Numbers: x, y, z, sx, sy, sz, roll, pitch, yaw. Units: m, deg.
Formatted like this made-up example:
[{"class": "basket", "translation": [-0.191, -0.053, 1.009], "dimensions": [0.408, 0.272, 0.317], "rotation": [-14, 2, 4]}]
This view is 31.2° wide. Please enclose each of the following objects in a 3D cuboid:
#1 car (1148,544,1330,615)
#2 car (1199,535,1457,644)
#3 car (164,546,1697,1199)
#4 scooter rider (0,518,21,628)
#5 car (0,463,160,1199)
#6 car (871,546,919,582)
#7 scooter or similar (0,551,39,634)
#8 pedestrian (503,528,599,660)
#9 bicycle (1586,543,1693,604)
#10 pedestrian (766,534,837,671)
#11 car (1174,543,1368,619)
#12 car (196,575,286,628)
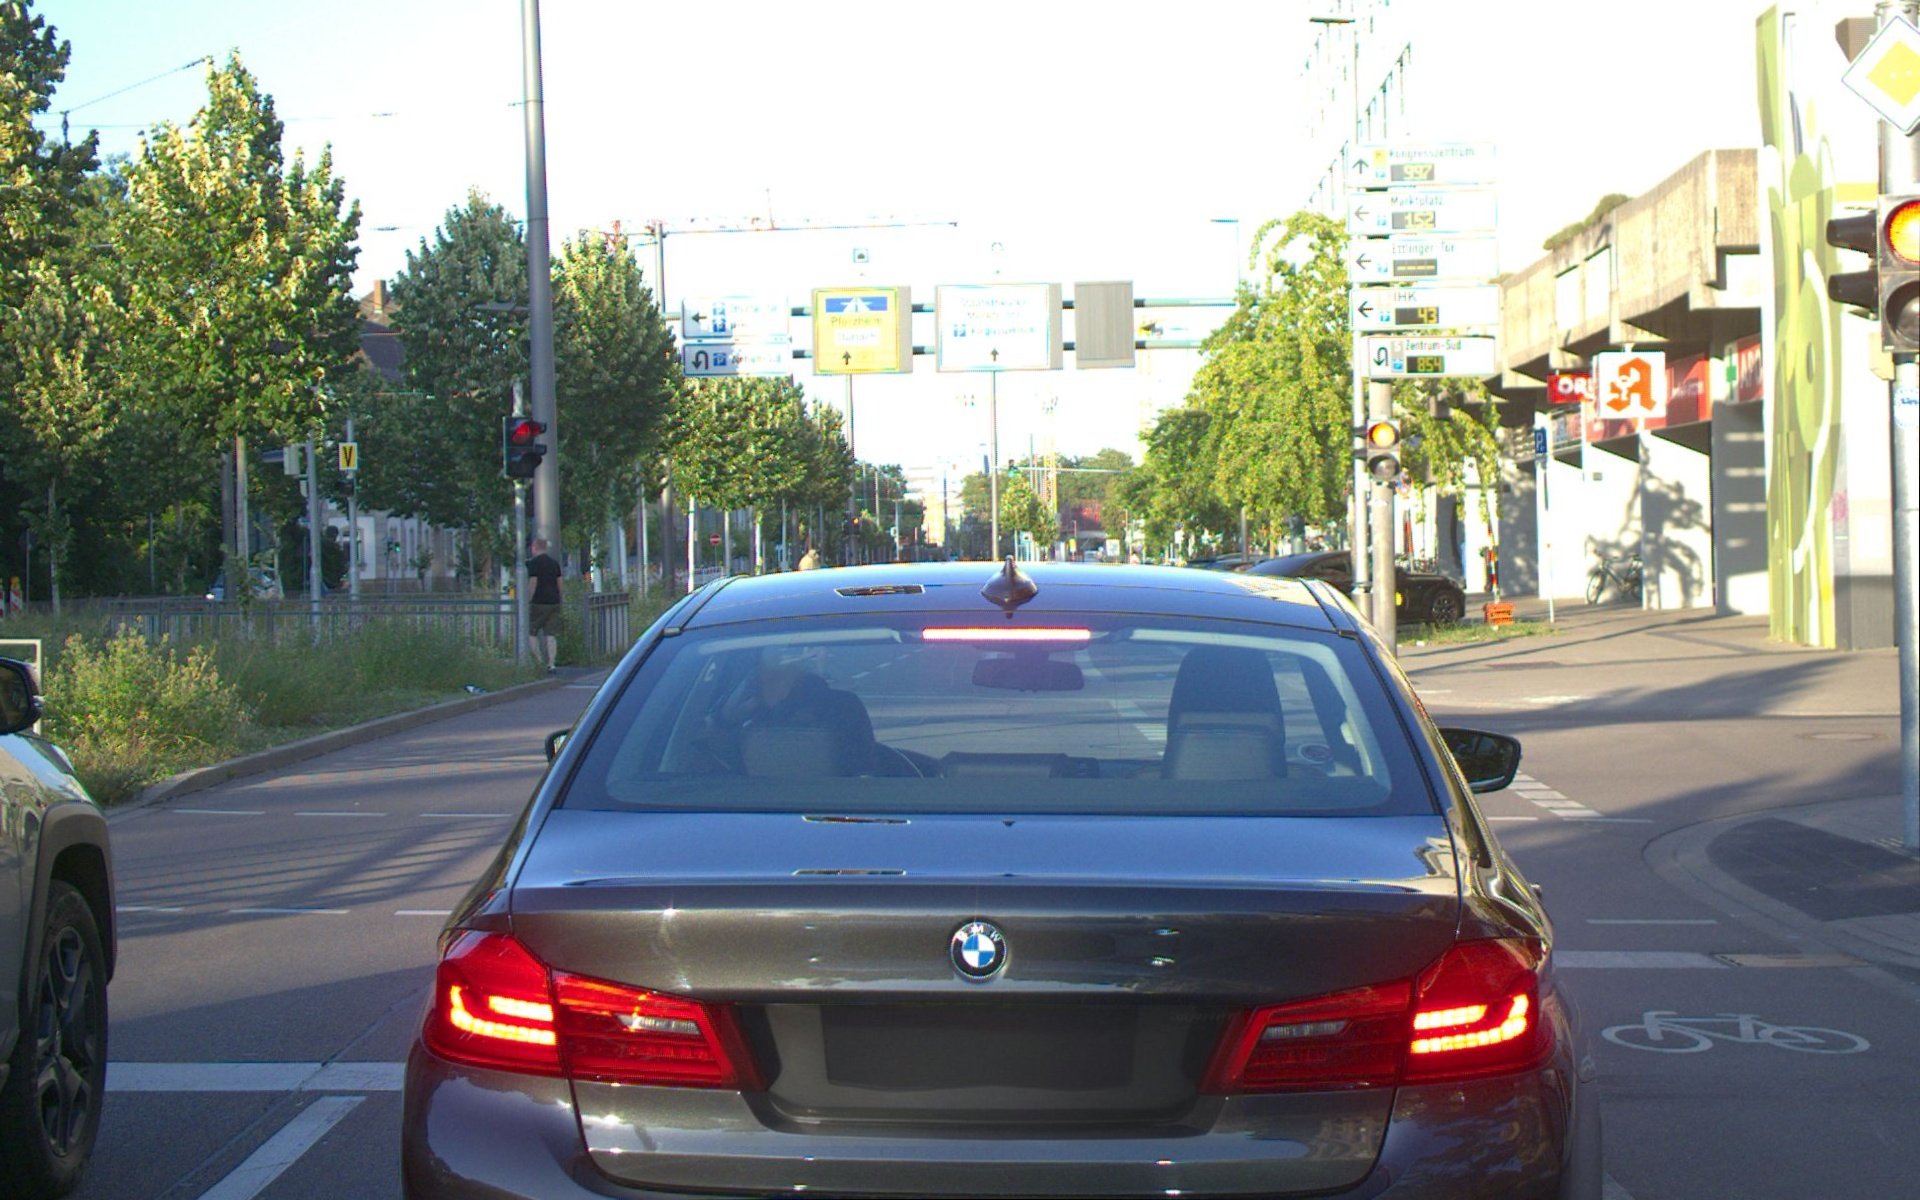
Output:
[{"class": "car", "translation": [6.920, -0.518, 85.154], "dimensions": [4.255, 1.653, 1.860], "rotation": [-1, 2, -35]}, {"class": "car", "translation": [6.077, -0.205, 56.531], "dimensions": [4.256, 1.653, 1.860], "rotation": [-2, 3, -42]}, {"class": "car", "translation": [0.048, 0.680, 6.608], "dimensions": [1.932, 1.476, 4.522], "rotation": [0, 2, 2]}, {"class": "scooter rider", "translation": [-13.566, -0.371, 47.883], "dimensions": [0.820, 1.509, 0.653], "rotation": [-2, 1, -24]}, {"class": "car", "translation": [-2.862, 0.572, 6.240], "dimensions": [1.854, 1.653, 4.269], "rotation": [0, 2, 0]}, {"class": "car", "translation": [-2.755, -1.540, 146.943], "dimensions": [1.979, 1.428, 4.843], "rotation": [0, 2, 0]}, {"class": "scooter or similar", "translation": [-13.554, -0.094, 47.856], "dimensions": [1.329, 1.149, 0.514], "rotation": [-2, 1, -24]}, {"class": "pedestrian", "translation": [-4.997, -0.073, 41.968], "dimensions": [0.809, 1.581, 0.837], "rotation": [-2, 1, -39]}, {"class": "bicycle", "translation": [13.619, -0.528, 68.966], "dimensions": [2.017, 1.145, 0.690], "rotation": [2, 0, 7]}, {"class": "pedestrian", "translation": [-2.002, 0.030, 43.488], "dimensions": [0.835, 1.706, 0.648], "rotation": [-1, 1, -1]}, {"class": "car", "translation": [7.161, -0.462, 79.103], "dimensions": [4.255, 1.653, 1.860], "rotation": [-1, 2, -35]}, {"class": "car", "translation": [-21.340, 0.031, 102.144], "dimensions": [1.800, 1.476, 3.783], "rotation": [-1, 1, 1]}]
